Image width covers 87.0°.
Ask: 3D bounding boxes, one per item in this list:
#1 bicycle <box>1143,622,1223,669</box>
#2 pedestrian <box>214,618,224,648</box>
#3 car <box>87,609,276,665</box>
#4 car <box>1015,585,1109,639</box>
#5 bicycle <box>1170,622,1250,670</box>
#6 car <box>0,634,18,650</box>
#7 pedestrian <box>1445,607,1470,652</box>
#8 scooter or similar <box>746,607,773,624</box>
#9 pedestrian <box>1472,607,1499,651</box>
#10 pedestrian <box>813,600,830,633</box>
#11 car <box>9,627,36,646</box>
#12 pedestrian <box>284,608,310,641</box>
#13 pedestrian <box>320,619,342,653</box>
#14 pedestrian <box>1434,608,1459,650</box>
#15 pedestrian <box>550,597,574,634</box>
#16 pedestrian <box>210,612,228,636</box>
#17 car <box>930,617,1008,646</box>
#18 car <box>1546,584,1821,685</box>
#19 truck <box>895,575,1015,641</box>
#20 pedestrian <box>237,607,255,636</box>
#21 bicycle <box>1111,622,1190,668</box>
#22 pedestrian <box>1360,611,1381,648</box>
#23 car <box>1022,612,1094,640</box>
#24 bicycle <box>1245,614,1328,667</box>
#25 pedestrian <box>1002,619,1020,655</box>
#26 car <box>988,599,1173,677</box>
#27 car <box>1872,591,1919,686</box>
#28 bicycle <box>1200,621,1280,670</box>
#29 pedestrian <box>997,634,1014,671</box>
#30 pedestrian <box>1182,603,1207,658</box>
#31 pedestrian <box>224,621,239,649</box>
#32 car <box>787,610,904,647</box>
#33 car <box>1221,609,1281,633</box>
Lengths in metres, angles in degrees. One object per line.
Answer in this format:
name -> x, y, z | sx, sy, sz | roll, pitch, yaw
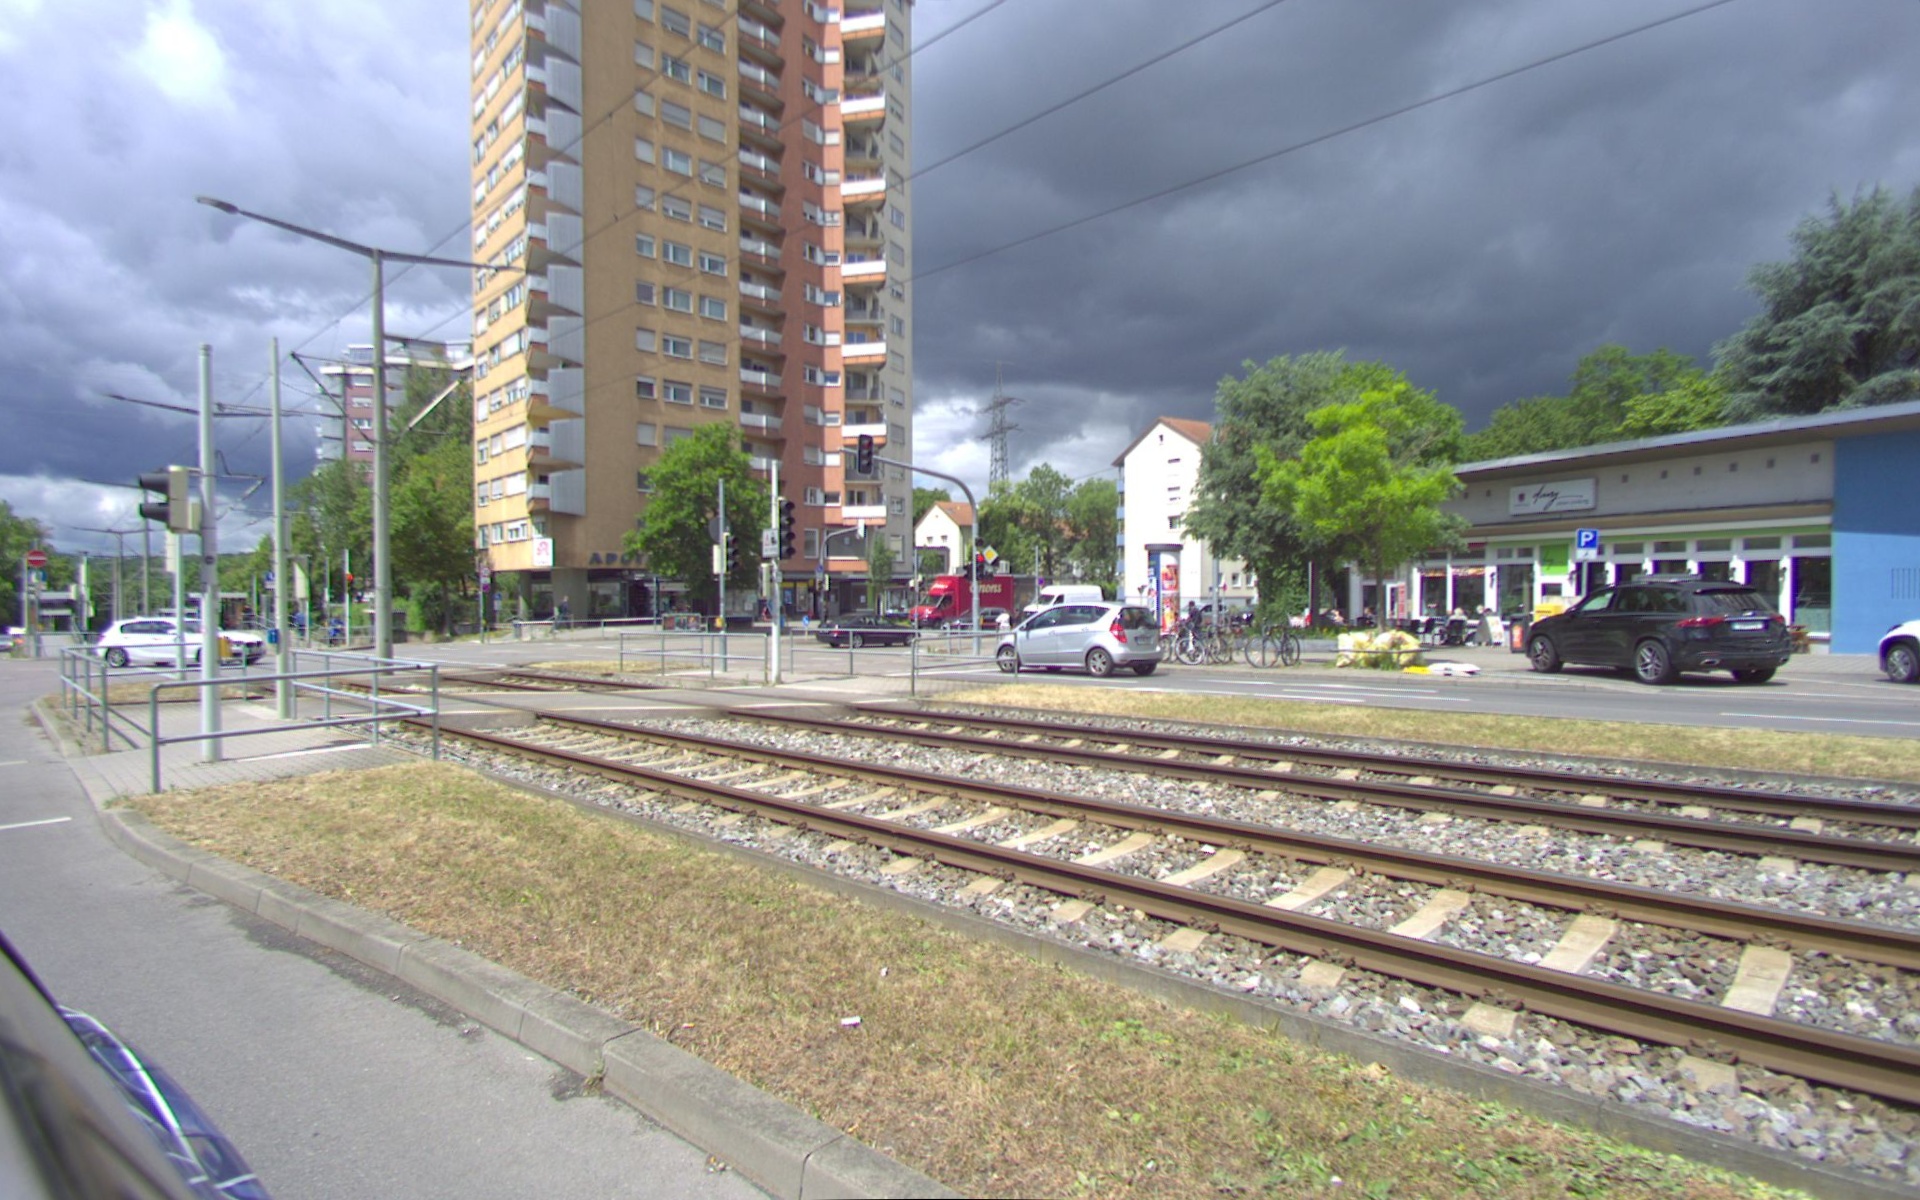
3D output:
bicycle -> 5.415, 1.077, 24.446 | 0.705, 1.074, 2.399 | -2, -2, 45
pedestrian -> -54.084, 2.432, 73.882 | 0.524, 2.158, 0.609 | 1, -2, -41
car -> -22.712, 1.048, 29.618 | 4.217, 1.462, 1.794 | 1, 1, 2
car -> 6.531, 0.780, 64.467 | 6.202, 3.324, 2.004 | 1, -2, -37
bicycle -> 5.929, 1.058, 23.904 | 0.705, 1.074, 2.399 | -2, -2, 45
car -> -75.259, 3.308, 79.429 | 1.778, 1.224, 4.028 | 1, -2, -40
pedestrian -> 16.796, 0.996, 34.143 | 0.518, 1.483, 0.573 | 1, -2, -42
scooter or similar -> -12.792, 0.990, 64.474 | 0.545, 1.102, 1.729 | -2, -2, 41
pedestrian -> 17.858, 0.993, 34.416 | 0.562, 1.483, 0.527 | 0, -2, -16
pedestrian -> -7.704, 0.909, 56.355 | 0.638, 1.825, 0.883 | -1, -2, 18
car -> -106.951, 4.152, 115.432 | 3.999, 2.165, 1.972 | -2, -2, 42
pedestrian -> -34.142, 1.282, 52.105 | 0.721, 1.609, 0.898 | -2, 3, 45
pedestrian -> -28.776, 1.645, 46.327 | 0.638, 1.525, 0.722 | 0, -2, -10
pedestrian -> 17.414, 1.046, 36.219 | 0.563, 1.483, 0.527 | 0, -2, -13
pedestrian -> -21.391, 0.821, 54.372 | 0.907, 1.949, 0.854 | 1, -2, -45
pedestrian -> -50.385, 1.620, 68.800 | 0.853, 1.618, 0.748 | 1, -2, -45
car -> 0.499, 1.704, 55.648 | 3.936, 1.506, 2.004 | 1, -2, -39
car -> 12.772, 0.601, 18.242 | 1.904, 1.603, 4.002 | 0, -2, -3
truck -> -0.200, 0.504, 59.469 | 6.987, 3.702, 2.551 | 1, -2, -39
pedestrian -> -45.654, 1.375, 64.706 | 0.853, 1.787, 0.748 | 1, -2, -45
bicycle -> 4.728, 1.098, 24.998 | 0.705, 1.074, 2.399 | -2, -2, 45
pedestrian -> 16.446, 1.172, 40.575 | 0.563, 1.483, 0.527 | 0, -2, -13
car -> 5.784, 1.539, 59.650 | 3.934, 1.614, 2.004 | 1, -2, -36
bicycle -> 7.252, 0.878, 22.398 | 0.717, 1.042, 2.400 | -2, 0, 45
pedestrian -> 2.116, 1.555, 42.220 | 0.562, 1.483, 0.528 | 0, -2, -19
car -> 2.554, 0.815, 22.059 | 1.796, 1.544, 3.759 | 1, -2, -42
car -> 16.045, 0.581, 15.011 | 1.725, 1.508, 3.761 | -1, -2, 4
bicycle -> 6.493, 1.038, 23.379 | 0.705, 1.074, 2.399 | -2, -2, 45
pedestrian -> 1.855, 2.153, 41.517 | 0.510, 1.483, 0.528 | 0, -2, -19
pedestrian -> 7.152, 0.928, 30.879 | 0.600, 1.655, 0.412 | -2, -2, 42
pedestrian -> -50.826, 2.423, 70.626 | 0.573, 1.946, 0.760 | -2, -2, 44
car -> -4.731, 1.182, 42.289 | 1.978, 1.409, 4.606 | -4, -4, 44
car -> 20.335, 1.447, 70.636 | 3.934, 1.614, 2.004 | 1, -2, -36
